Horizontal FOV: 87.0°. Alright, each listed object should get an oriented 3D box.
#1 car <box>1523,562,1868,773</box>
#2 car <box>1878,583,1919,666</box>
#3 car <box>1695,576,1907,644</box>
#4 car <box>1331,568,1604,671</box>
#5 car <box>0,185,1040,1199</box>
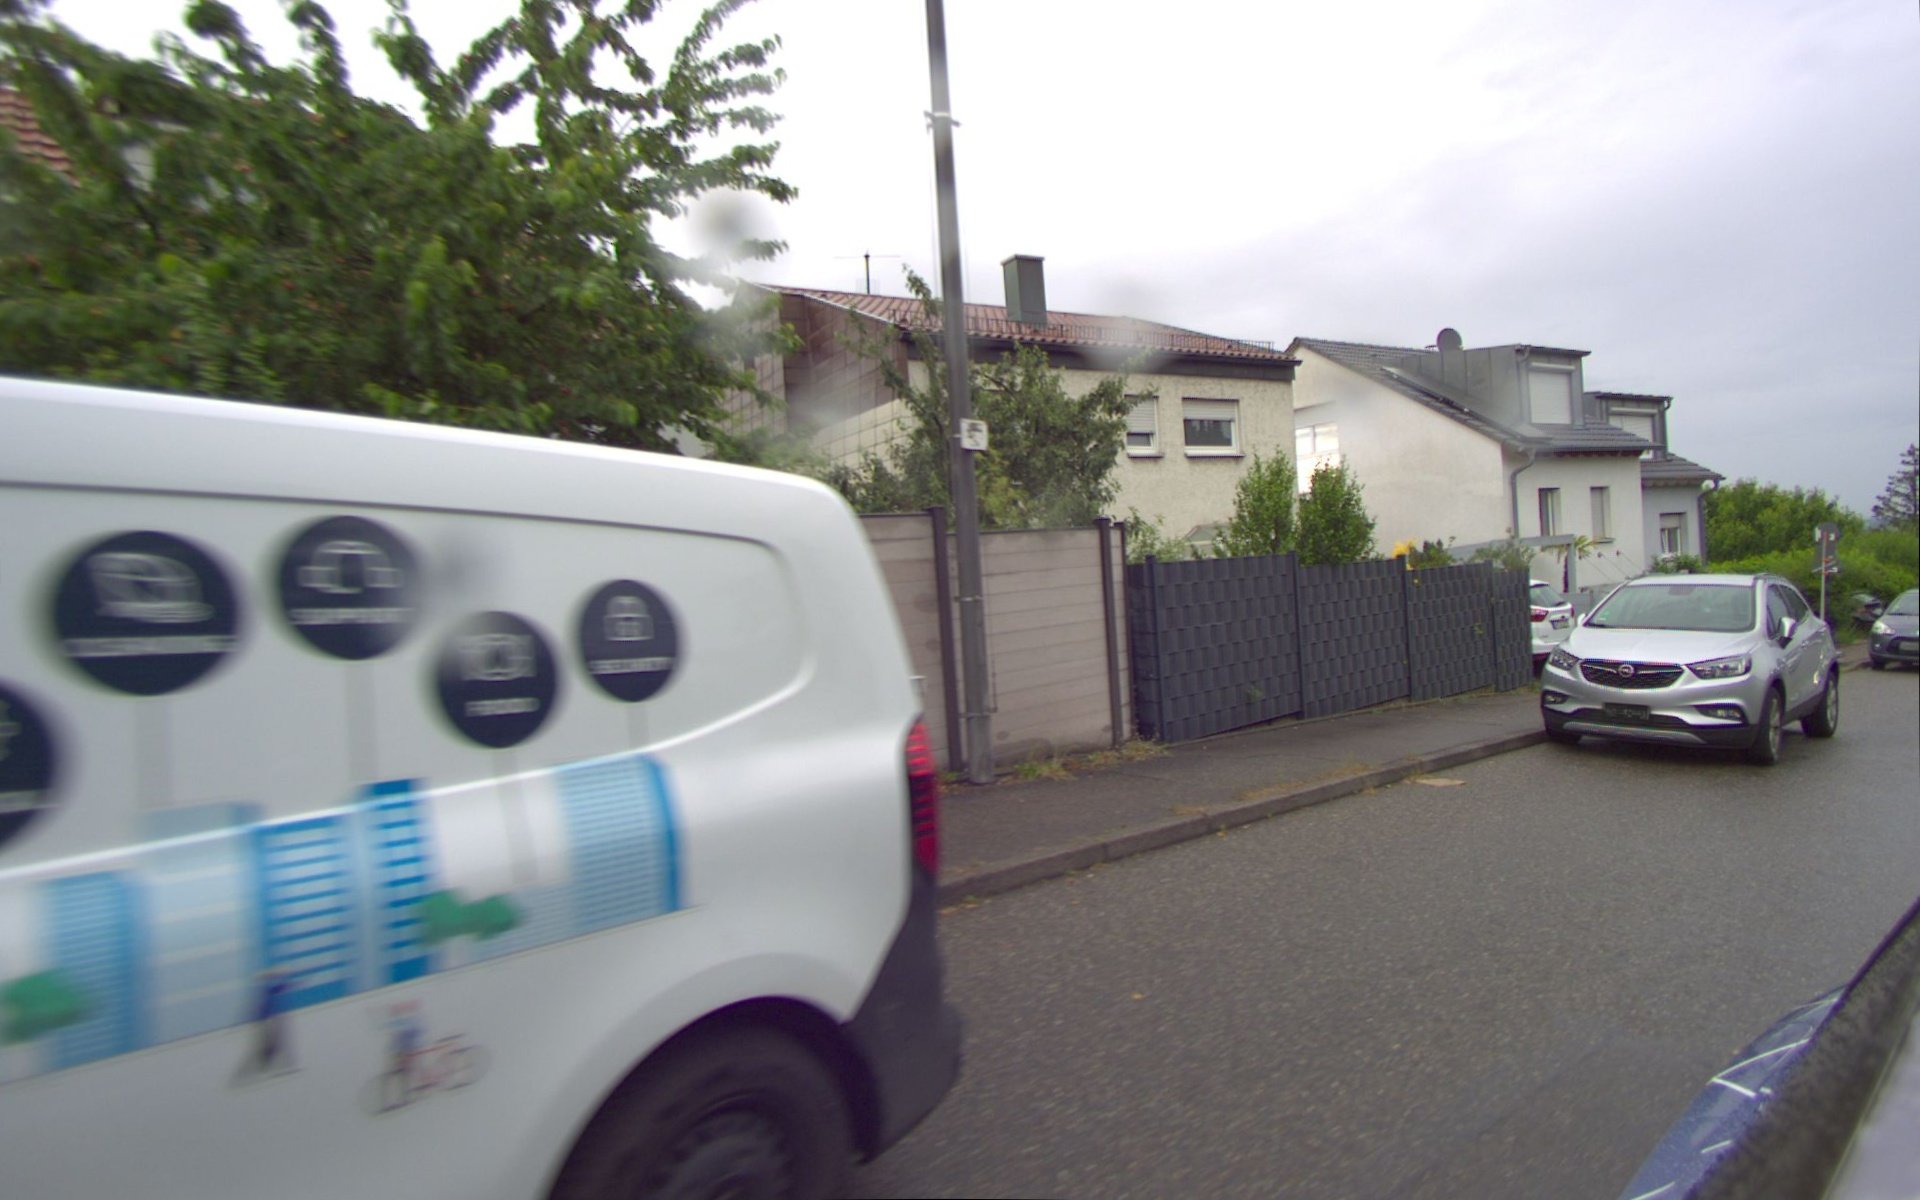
[{"bbox_3d":[7.395,0.482,10.020,4.212,1.647,1.808,-1,2,-41],"label":"car"},{"bbox_3d":[18.850,0.435,19.030,3.694,1.485,1.664,-1,2,-37],"label":"car"},{"bbox_3d":[23.343,0.308,28.264,1.960,1.461,4.001,-1,-5,-29],"label":"car"},{"bbox_3d":[9.065,0.302,18.390,1.898,1.609,4.001,-2,1,-33],"label":"car"},{"bbox_3d":[-2.080,0.487,1.233,1.779,1.826,4.631,0,1,45],"label":"car"}]
